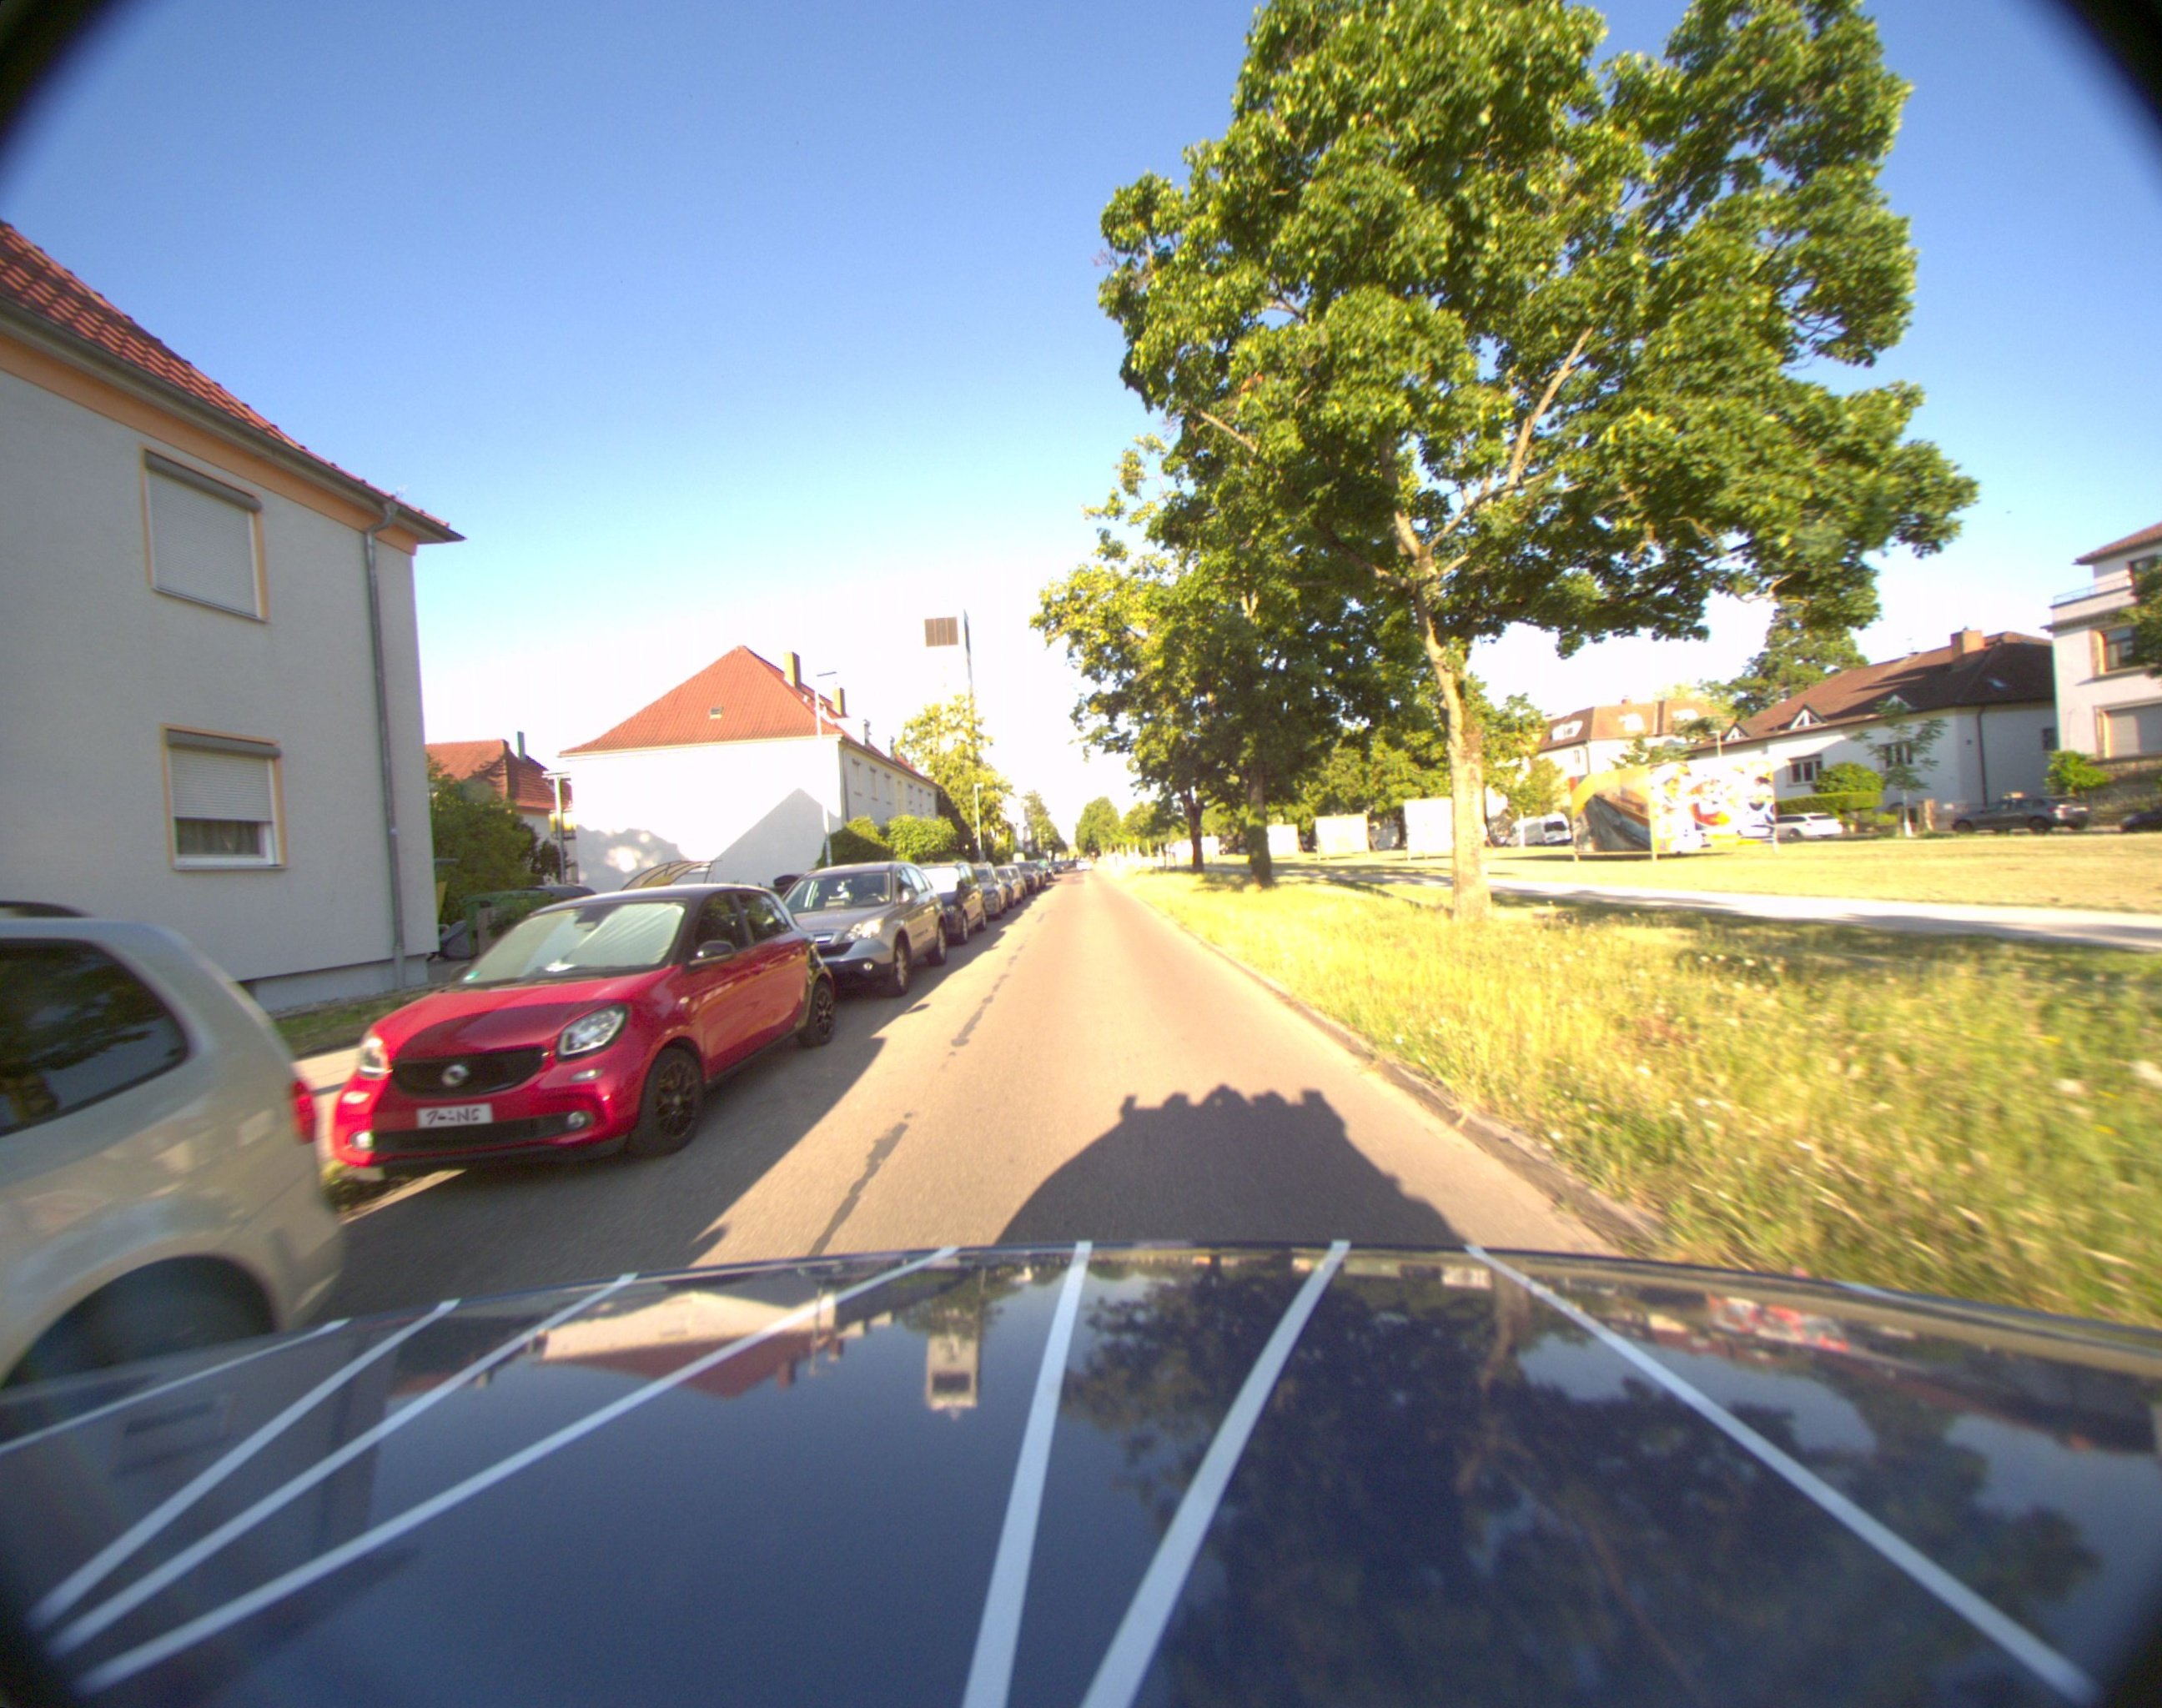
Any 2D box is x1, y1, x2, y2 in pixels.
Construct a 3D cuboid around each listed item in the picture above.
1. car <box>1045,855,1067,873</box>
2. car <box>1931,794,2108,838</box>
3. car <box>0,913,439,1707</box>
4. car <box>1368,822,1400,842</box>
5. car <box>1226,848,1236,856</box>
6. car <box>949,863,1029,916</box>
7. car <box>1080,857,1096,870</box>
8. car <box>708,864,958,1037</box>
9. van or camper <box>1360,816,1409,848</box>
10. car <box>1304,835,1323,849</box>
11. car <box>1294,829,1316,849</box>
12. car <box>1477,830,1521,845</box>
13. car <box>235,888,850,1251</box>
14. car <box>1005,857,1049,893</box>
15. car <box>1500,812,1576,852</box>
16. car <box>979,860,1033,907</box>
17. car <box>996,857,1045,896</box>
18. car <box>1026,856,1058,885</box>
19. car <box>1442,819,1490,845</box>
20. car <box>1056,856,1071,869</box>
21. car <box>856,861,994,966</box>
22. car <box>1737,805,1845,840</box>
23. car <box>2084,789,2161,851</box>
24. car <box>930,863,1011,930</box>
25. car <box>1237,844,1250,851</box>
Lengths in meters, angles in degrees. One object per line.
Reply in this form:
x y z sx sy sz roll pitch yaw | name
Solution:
-2.695 1.078 83.014 1.827 1.552 4.622 -10 0 1 | car
39.953 -1.563 32.569 1.786 1.693 4.666 0 1 0 | car
-2.994 1.085 0.244 1.721 1.629 4.563 -6 0 -3 | car
34.149 -2.426 85.667 1.998 2.002 4.000 -4 0 1 | car
34.899 -0.454 177.240 1.894 1.513 3.682 -3 -1 6 | car
-3.127 1.179 26.858 1.998 1.453 4.562 -5 0 2 | car
0.941 1.280 101.542 1.999 1.483 4.000 -4 0 0 | car
-3.008 1.057 10.436 1.782 1.633 4.756 -4 0 0 | car
34.149 -2.426 85.667 2.648 3.243 6.905 -4 0 1 | van or camper
39.893 -2.055 130.251 1.998 2.141 4.000 -4 0 1 | car
40.199 -2.634 136.706 1.998 3.230 6.075 -4 -1 0 | car
40.318 -1.607 73.457 1.998 1.395 4.562 0 1 4 | car
-3.138 1.114 5.499 1.734 1.517 3.734 -2 0 0 | car
-2.988 1.119 42.772 1.938 1.710 4.621 -6 0 0 | car
34.083 -1.633 56.915 2.266 2.810 5.870 0 1 1 | car
-3.060 1.168 31.806 1.732 1.539 4.206 -8 1 -2 | car
-2.885 1.059 37.246 1.859 1.647 4.820 -5 0 1 | car
-2.753 1.132 54.297 1.837 1.722 5.031 -6 1 0 | car
40.618 -2.285 80.385 1.998 2.583 6.089 0 1 0 | car
-2.663 1.297 114.993 1.999 1.588 4.885 -8 1 -1 | car
-3.034 1.075 15.873 1.770 1.625 4.763 -5 1 0 | car
40.018 -1.740 43.003 1.734 1.843 4.713 0 1 0 | car
34.321 -1.045 23.116 1.894 1.906 4.326 0 1 0 | car
-3.028 1.115 21.681 1.729 1.552 4.416 -4 0 -2 | car
40.601 -1.659 189.510 1.999 1.490 3.999 -3 -1 -4 | car
